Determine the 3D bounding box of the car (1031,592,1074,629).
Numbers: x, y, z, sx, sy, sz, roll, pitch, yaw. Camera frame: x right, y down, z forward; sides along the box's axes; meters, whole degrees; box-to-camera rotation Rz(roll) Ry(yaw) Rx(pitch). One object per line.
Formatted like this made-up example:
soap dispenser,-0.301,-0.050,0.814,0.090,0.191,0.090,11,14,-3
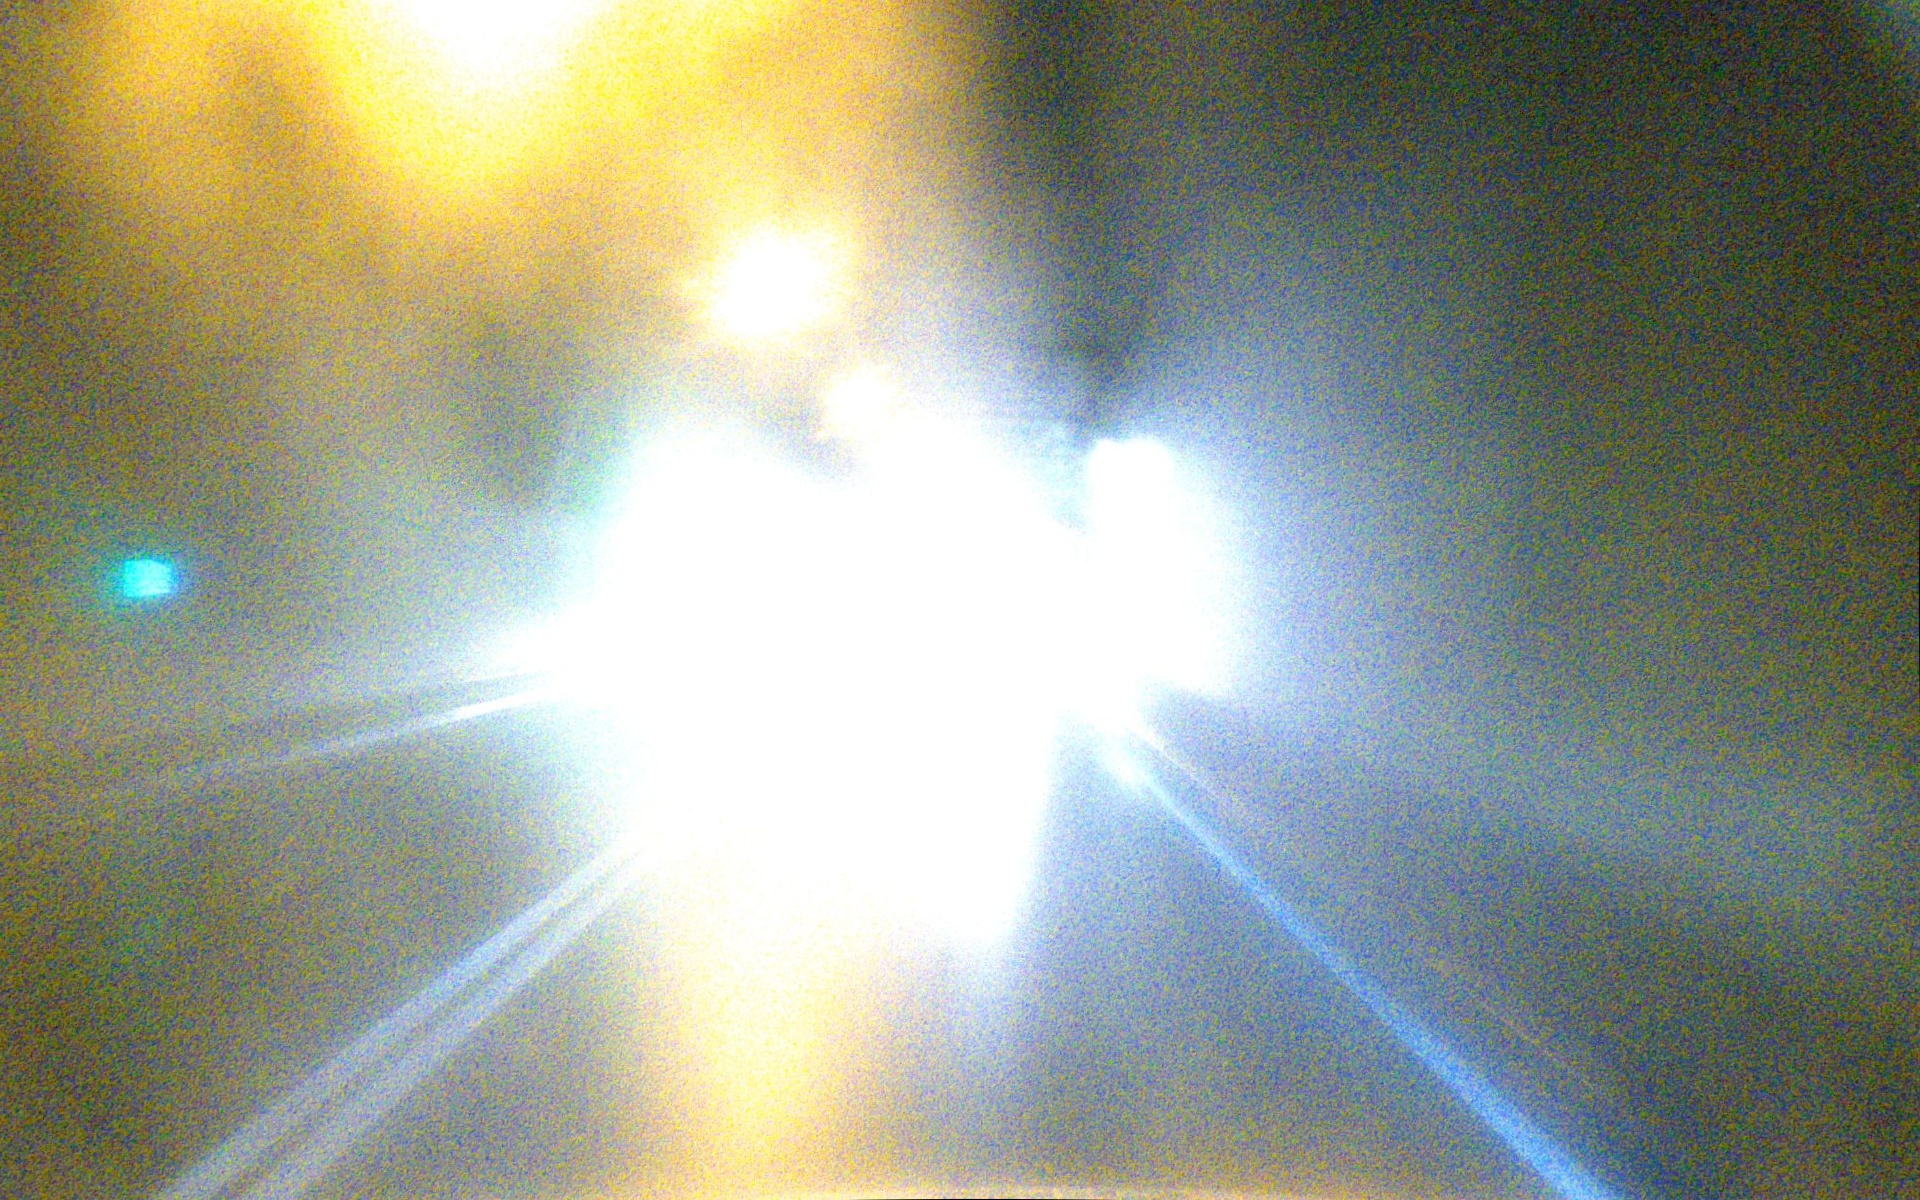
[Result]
car,4.449,0.491,79.607,1.952,1.679,4.001,2,0,3

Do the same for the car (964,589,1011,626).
car,1.322,0.338,78.829,1.951,1.679,4.002,2,0,4
